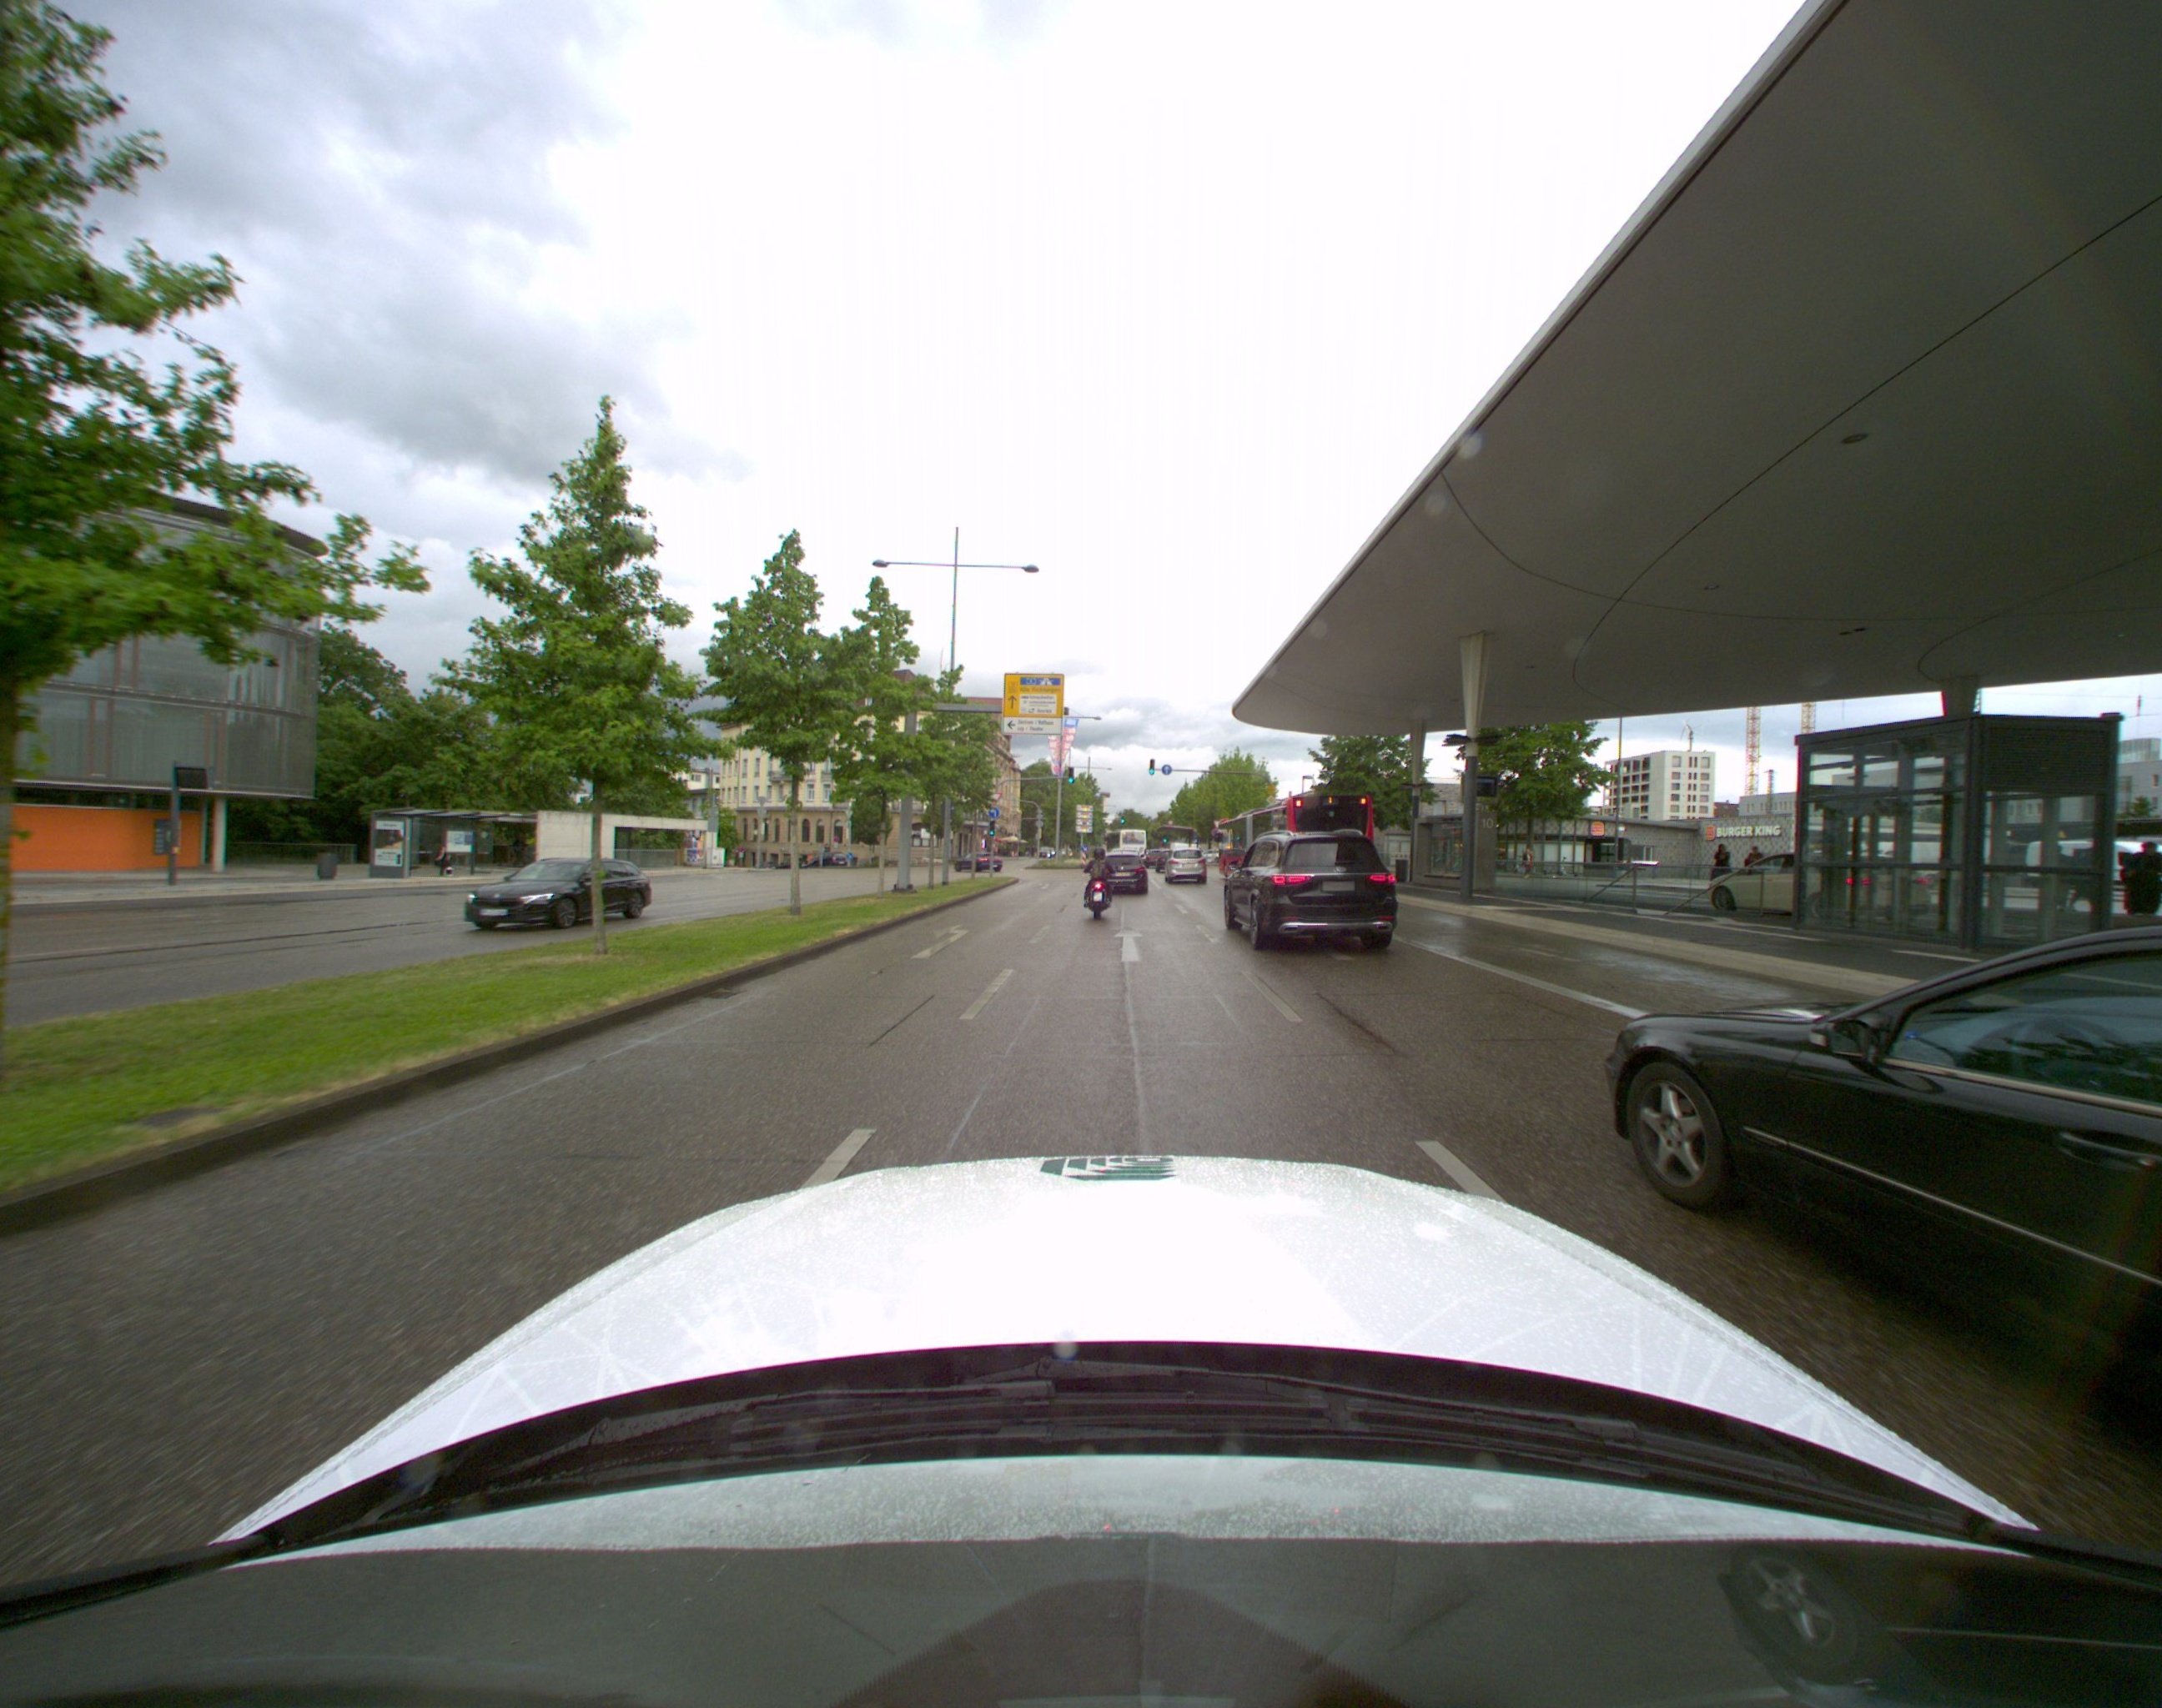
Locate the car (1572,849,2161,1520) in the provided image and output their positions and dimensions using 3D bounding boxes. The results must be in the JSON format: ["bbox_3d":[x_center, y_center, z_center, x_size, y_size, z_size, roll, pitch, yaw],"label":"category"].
[{"bbox_3d":[3.314,0.780,2.015,1.691,1.462,4.305,0,2,1],"label":"car"}]

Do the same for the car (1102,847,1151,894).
[{"bbox_3d":[1.608,0.532,28.750,1.569,1.504,3.874,-1,0,3],"label":"car"}]

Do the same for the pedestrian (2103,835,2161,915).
[{"bbox_3d":[24.052,0.466,18.498,0.704,1.707,0.770,-3,2,15],"label":"pedestrian"}]

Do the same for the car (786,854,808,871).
[{"bbox_3d":[-29.024,0.869,83.190,1.667,1.604,3.224,-3,2,-27],"label":"car"}]

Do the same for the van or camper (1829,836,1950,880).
[{"bbox_3d":[44.235,0.232,44.605,4.673,2.269,2.109,1,0,-2],"label":"van or camper"}]

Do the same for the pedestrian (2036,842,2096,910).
[{"bbox_3d":[23.629,0.532,19.538,0.597,1.581,0.710,2,-1,-7],"label":"pedestrian"}]

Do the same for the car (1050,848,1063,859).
[{"bbox_3d":[-3.672,-0.018,121.285,1.569,1.567,3.432,-1,0,2],"label":"car"}]

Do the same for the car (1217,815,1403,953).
[{"bbox_3d":[3.598,0.404,13.815,1.949,1.876,4.877,-1,0,2],"label":"car"}]

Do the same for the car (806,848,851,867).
[{"bbox_3d":[-22.291,0.333,71.888,3.658,1.627,1.854,1,0,34],"label":"car"}]

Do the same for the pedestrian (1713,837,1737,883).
[{"bbox_3d":[23.073,0.217,29.185,0.574,1.578,0.777,1,-5,43],"label":"pedestrian"}]

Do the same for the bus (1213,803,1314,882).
[{"bbox_3d":[8.379,-0.499,38.537,3.277,3.289,8.857,0,0,3],"label":"bus"}]

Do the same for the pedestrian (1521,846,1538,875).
[{"bbox_3d":[25.553,0.385,46.410,0.601,1.578,0.674,4,-4,8],"label":"pedestrian"}]

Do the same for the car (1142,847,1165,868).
[{"bbox_3d":[5.524,0.235,62.179,1.569,1.567,3.798,-1,0,2],"label":"car"}]

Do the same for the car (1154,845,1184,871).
[{"bbox_3d":[5.466,0.237,51.030,1.569,1.567,3.873,-1,0,2],"label":"car"}]

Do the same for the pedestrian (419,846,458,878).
[{"bbox_3d":[-26.513,0.323,33.613,0.967,1.267,0.854,4,1,23],"label":"pedestrian"}]

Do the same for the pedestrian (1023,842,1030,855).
[{"bbox_3d":[-8.284,-0.779,123.777,0.727,1.965,0.820,0,0,-24],"label":"pedestrian"}]

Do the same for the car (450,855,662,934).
[{"bbox_3d":[-11.377,0.790,18.118,1.675,1.528,4.639,0,0,0],"label":"car"}]

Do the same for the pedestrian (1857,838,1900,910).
[{"bbox_3d":[23.274,0.580,23.770,0.717,2.014,0.673,3,-4,29],"label":"pedestrian"}]

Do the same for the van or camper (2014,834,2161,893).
[{"bbox_3d":[46.718,0.413,36.732,2.086,2.508,6.213,1,0,-1],"label":"van or camper"}]

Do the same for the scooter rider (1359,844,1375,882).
[{"bbox_3d":[11.516,0.359,32.795,0.587,1.490,0.768,1,-1,16],"label":"scooter rider"}]

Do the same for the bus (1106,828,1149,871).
[{"bbox_3d":[4.548,-0.382,81.863,2.832,3.988,11.846,1,0,-4],"label":"bus"}]

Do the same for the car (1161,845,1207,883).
[{"bbox_3d":[4.599,0.408,36.705,1.734,1.567,3.873,-1,0,2],"label":"car"}]

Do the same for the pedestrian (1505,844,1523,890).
[{"bbox_3d":[15.744,0.469,29.584,0.569,1.678,0.586,0,-1,28],"label":"pedestrian"}]

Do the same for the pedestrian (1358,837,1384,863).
[{"bbox_3d":[11.669,-0.166,32.793,0.906,0.985,0.636,1,-4,16],"label":"pedestrian"}]

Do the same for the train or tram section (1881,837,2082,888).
[{"bbox_3d":[73.946,0.591,67.560,3.120,3.659,12.329,4,0,2],"label":"train or tram section"}]

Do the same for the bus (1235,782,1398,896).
[{"bbox_3d":[7.830,-0.449,28.979,3.272,3.292,10.887,0,0,3],"label":"bus"}]

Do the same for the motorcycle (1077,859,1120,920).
[{"bbox_3d":[0.405,0.772,18.244,0.789,1.262,1.858,-1,0,6],"label":"motorcycle"}]

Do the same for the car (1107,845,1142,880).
[{"bbox_3d":[2.065,0.386,39.097,1.569,1.567,3.873,-1,0,2],"label":"car"}]

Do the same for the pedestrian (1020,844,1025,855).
[{"bbox_3d":[-8.942,-0.694,125.137,0.555,1.778,0.502,0,0,37],"label":"pedestrian"}]

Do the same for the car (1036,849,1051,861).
[{"bbox_3d":[-5.298,0.138,114.891,1.773,1.567,3.432,-1,0,2],"label":"car"}]

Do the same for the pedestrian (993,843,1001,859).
[{"bbox_3d":[-10.928,-0.389,106.008,0.727,2.013,0.820,0,0,-24],"label":"pedestrian"}]

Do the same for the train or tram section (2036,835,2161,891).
[{"bbox_3d":[73.497,0.655,55.563,3.120,3.659,11.621,4,0,2],"label":"train or tram section"}]

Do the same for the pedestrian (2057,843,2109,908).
[{"bbox_3d":[25.738,0.552,20.926,0.582,1.578,0.766,6,-4,-30],"label":"pedestrian"}]

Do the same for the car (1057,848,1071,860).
[{"bbox_3d":[-2.364,0.011,113.122,1.773,1.567,3.432,-1,0,2],"label":"car"}]

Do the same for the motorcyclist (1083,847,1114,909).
[{"bbox_3d":[0.401,0.528,18.247,0.638,1.347,0.690,0,0,5],"label":"motorcyclist"}]

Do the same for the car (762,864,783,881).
[{"bbox_3d":[-32.551,1.931,85.864,1.668,1.604,3.223,-3,2,-28],"label":"car"}]

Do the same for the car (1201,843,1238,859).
[{"bbox_3d":[14.807,-0.325,87.249,1.588,1.567,3.754,-2,0,-37],"label":"car"}]

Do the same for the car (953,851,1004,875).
[{"bbox_3d":[-7.254,0.599,57.402,1.829,1.570,4.358,-2,0,-33],"label":"car"}]

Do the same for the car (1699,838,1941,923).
[{"bbox_3d":[16.487,0.517,18.513,1.705,1.662,4.241,2,0,1],"label":"car"}]
